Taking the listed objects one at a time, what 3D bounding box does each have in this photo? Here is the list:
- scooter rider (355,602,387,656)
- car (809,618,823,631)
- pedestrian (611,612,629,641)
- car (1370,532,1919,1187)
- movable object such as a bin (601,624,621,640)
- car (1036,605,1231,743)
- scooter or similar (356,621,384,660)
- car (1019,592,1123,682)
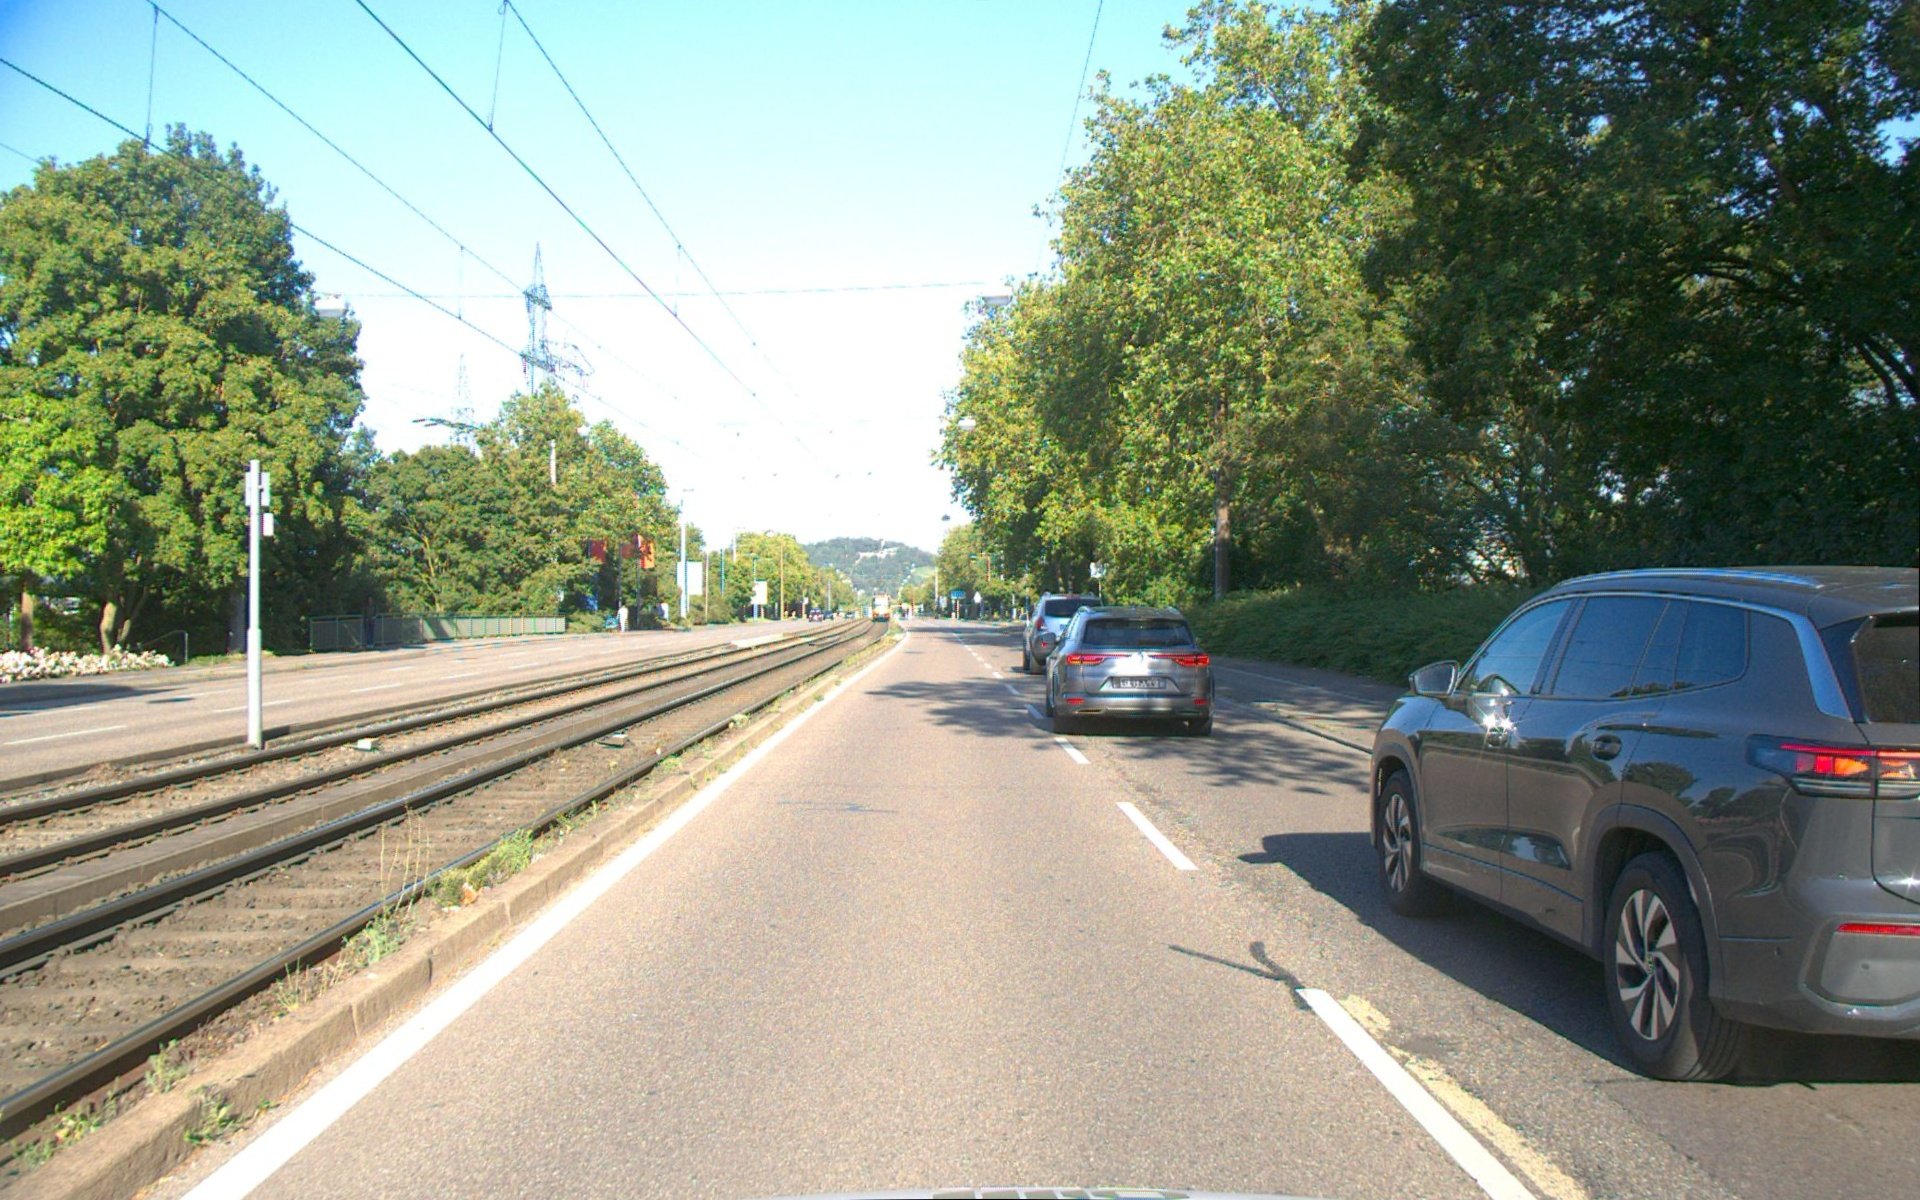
[{"bbox_3d":[-20.758,1.006,58.256,0.667,1.881,1.001,-1,0,6],"label":"scooter rider"},{"bbox_3d":[-20.451,3.418,234.679,1.825,1.750,3.998,0,0,-2],"label":"car"},{"bbox_3d":[-21.750,1.696,105.701,0.709,1.787,0.835,1,-2,20],"label":"pedestrian"},{"bbox_3d":[3.118,0.694,6.525,1.807,1.690,4.438,1,0,-1],"label":"car"},{"bbox_3d":[-22.090,2.035,104.787,0.709,0.978,1.101,2,-2,20],"label":"movable object such as a bin"},{"bbox_3d":[1.992,0.820,20.270,1.828,1.493,4.665,0,-1,-1],"label":"car"},{"bbox_3d":[-20.774,1.416,58.249,0.462,1.319,1.263,-1,0,5],"label":"scooter or similar"},{"bbox_3d":[2.386,0.766,36.520,1.845,1.827,3.998,2,0,-2],"label":"car"}]
